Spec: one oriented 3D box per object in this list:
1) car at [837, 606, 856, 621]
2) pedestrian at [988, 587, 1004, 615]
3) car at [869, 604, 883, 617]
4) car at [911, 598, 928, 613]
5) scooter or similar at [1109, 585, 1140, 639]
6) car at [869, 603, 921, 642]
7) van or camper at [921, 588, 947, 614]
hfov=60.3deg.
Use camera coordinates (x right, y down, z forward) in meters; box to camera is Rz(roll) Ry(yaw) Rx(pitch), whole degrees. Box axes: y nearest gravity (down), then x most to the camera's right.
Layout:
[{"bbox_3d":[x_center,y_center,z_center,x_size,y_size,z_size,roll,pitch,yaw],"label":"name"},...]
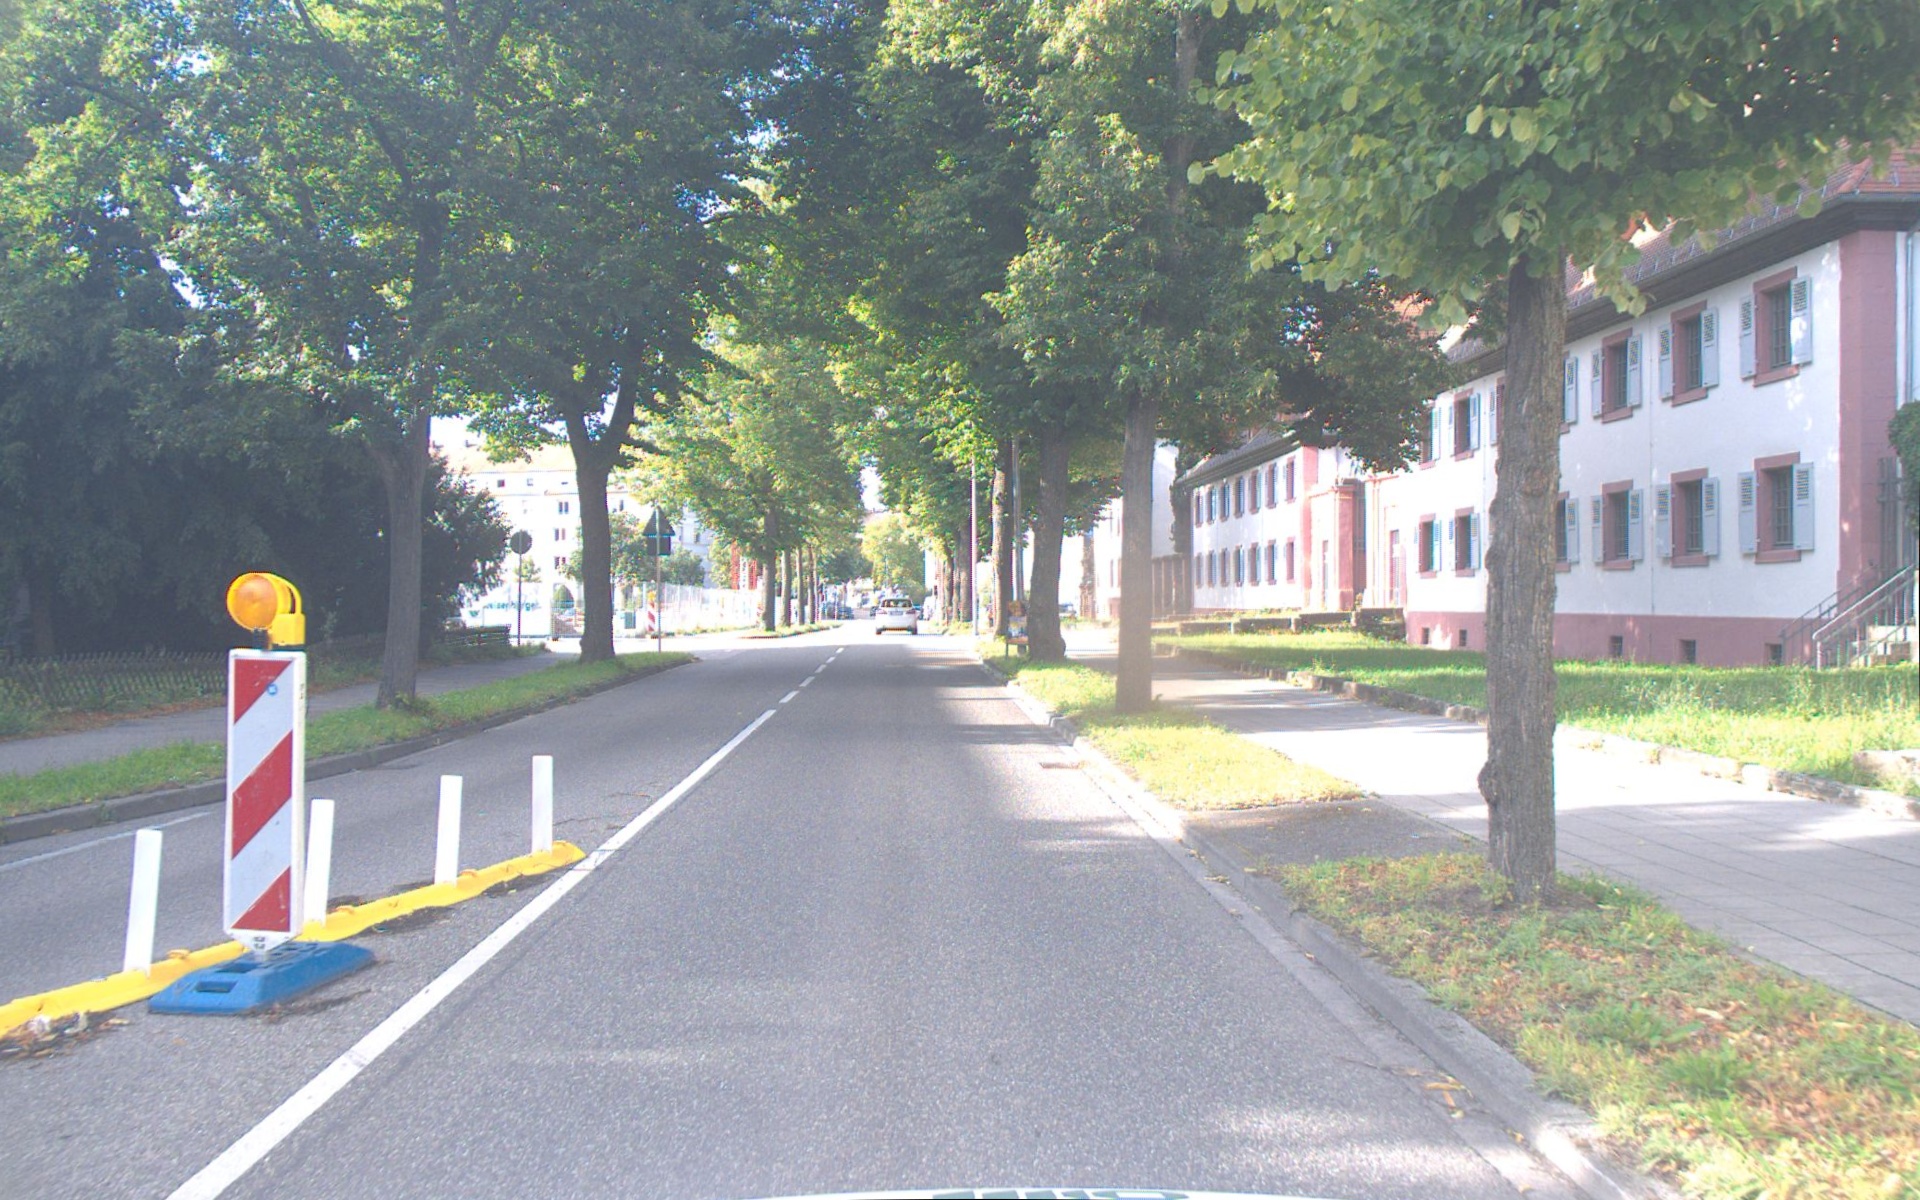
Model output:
[{"bbox_3d":[-13.131,1.554,191.227,1.956,1.668,3.992,-2,0,-9],"label":"car"},{"bbox_3d":[2.099,0.054,97.349,0.798,1.618,0.769,-3,-1,-3],"label":"pedestrian"},{"bbox_3d":[-12.473,1.570,245.219,1.953,1.786,3.998,0,-1,-2],"label":"car"},{"bbox_3d":[-4.835,0.642,196.735,1.954,1.601,3.997,-2,0,-3],"label":"car"},{"bbox_3d":[4.142,0.284,41.808,0.567,1.314,1.381,-3,0,-1],"label":"scooter or similar"},{"bbox_3d":[-2.800,0.949,70.516,1.955,1.582,4.269,0,-1,-5],"label":"car"},{"bbox_3d":[-2.778,0.076,175.328,2.167,2.653,5.364,-1,0,-6],"label":"van or camper"}]
